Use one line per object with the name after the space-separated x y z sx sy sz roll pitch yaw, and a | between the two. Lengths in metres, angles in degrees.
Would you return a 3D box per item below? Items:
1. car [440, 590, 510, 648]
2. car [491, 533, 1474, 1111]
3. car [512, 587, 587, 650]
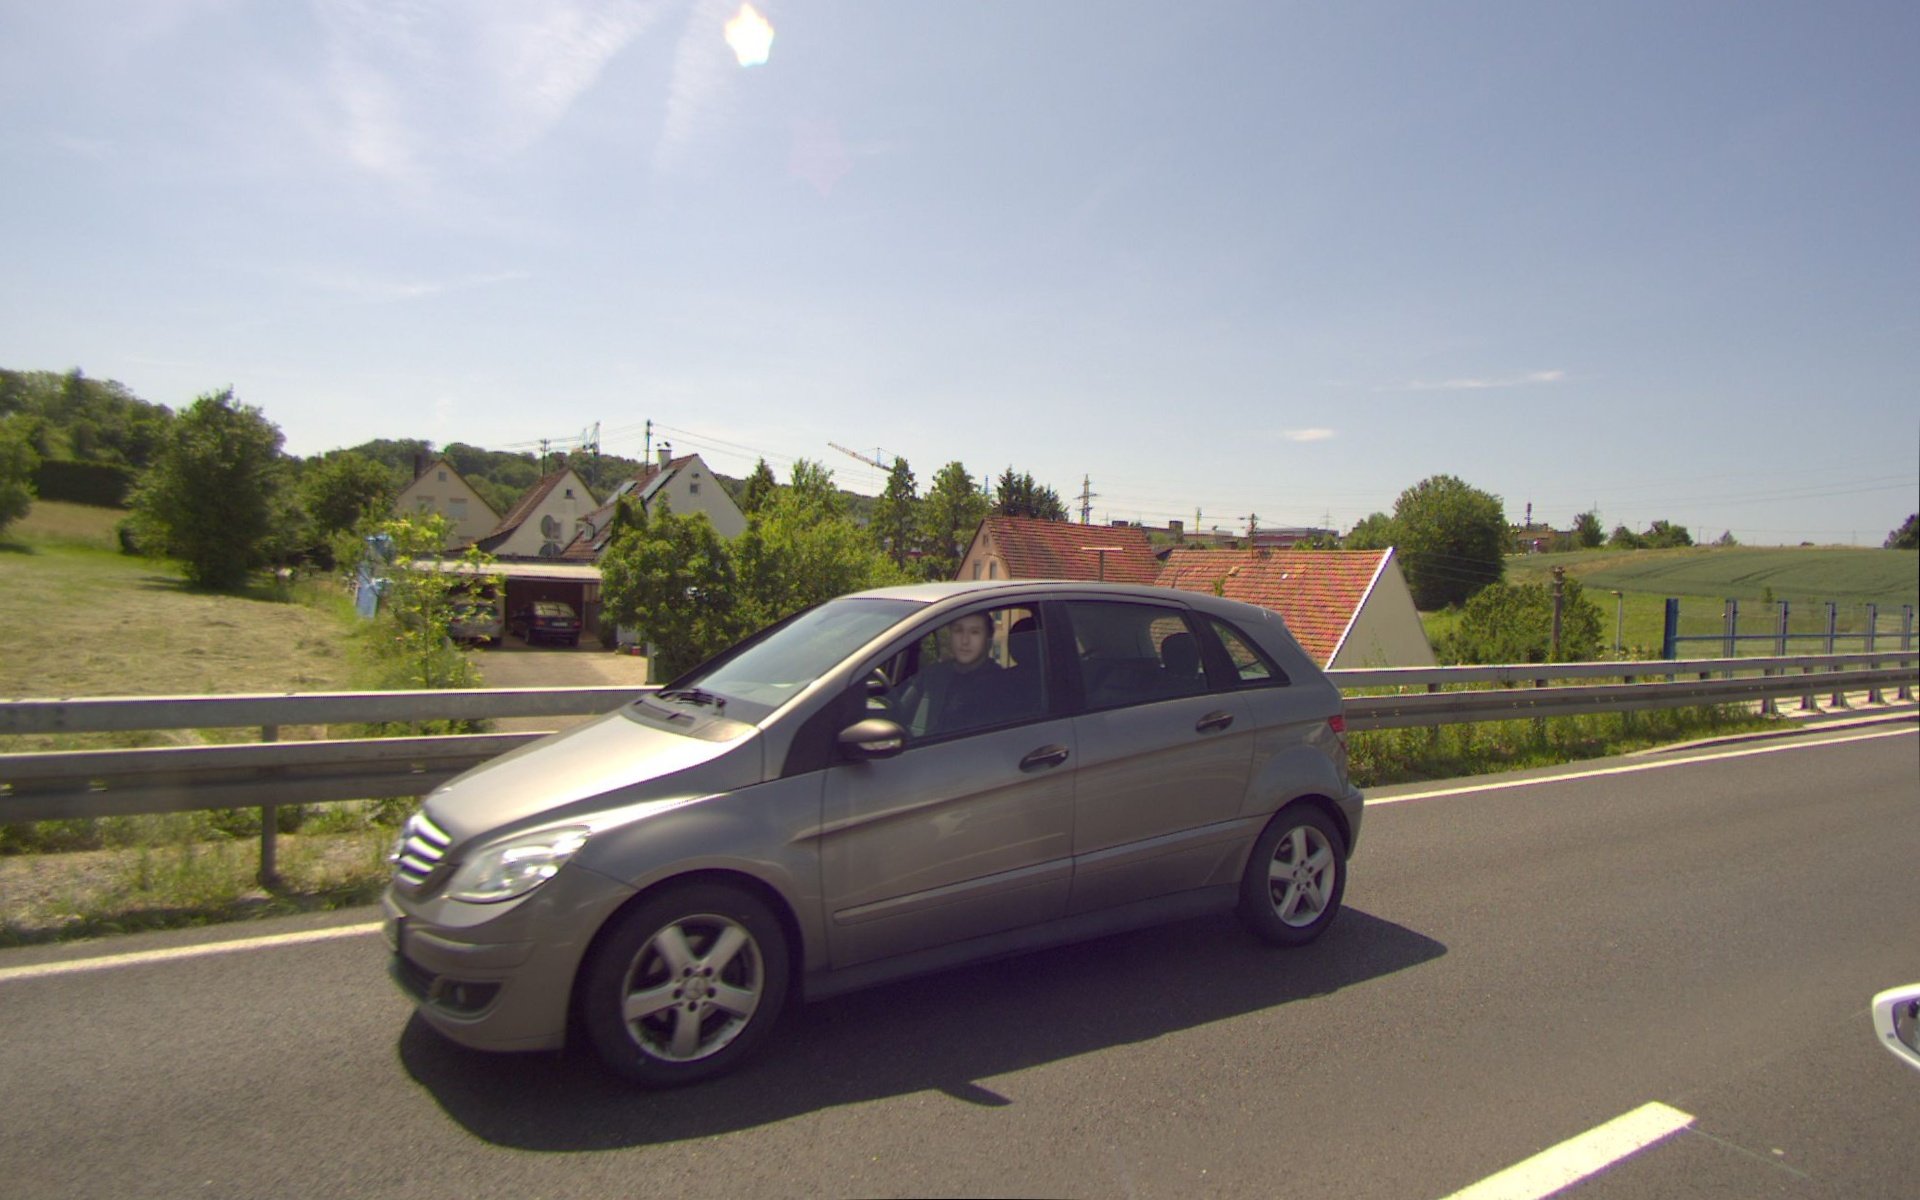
-16.480 0.610 34.051 1.763 1.535 3.966 2 4 -31 | car
0.284 0.673 4.712 4.330 1.610 1.797 2 -1 -31 | car
-14.528 0.618 35.456 1.842 1.781 3.966 2 4 -31 | car
